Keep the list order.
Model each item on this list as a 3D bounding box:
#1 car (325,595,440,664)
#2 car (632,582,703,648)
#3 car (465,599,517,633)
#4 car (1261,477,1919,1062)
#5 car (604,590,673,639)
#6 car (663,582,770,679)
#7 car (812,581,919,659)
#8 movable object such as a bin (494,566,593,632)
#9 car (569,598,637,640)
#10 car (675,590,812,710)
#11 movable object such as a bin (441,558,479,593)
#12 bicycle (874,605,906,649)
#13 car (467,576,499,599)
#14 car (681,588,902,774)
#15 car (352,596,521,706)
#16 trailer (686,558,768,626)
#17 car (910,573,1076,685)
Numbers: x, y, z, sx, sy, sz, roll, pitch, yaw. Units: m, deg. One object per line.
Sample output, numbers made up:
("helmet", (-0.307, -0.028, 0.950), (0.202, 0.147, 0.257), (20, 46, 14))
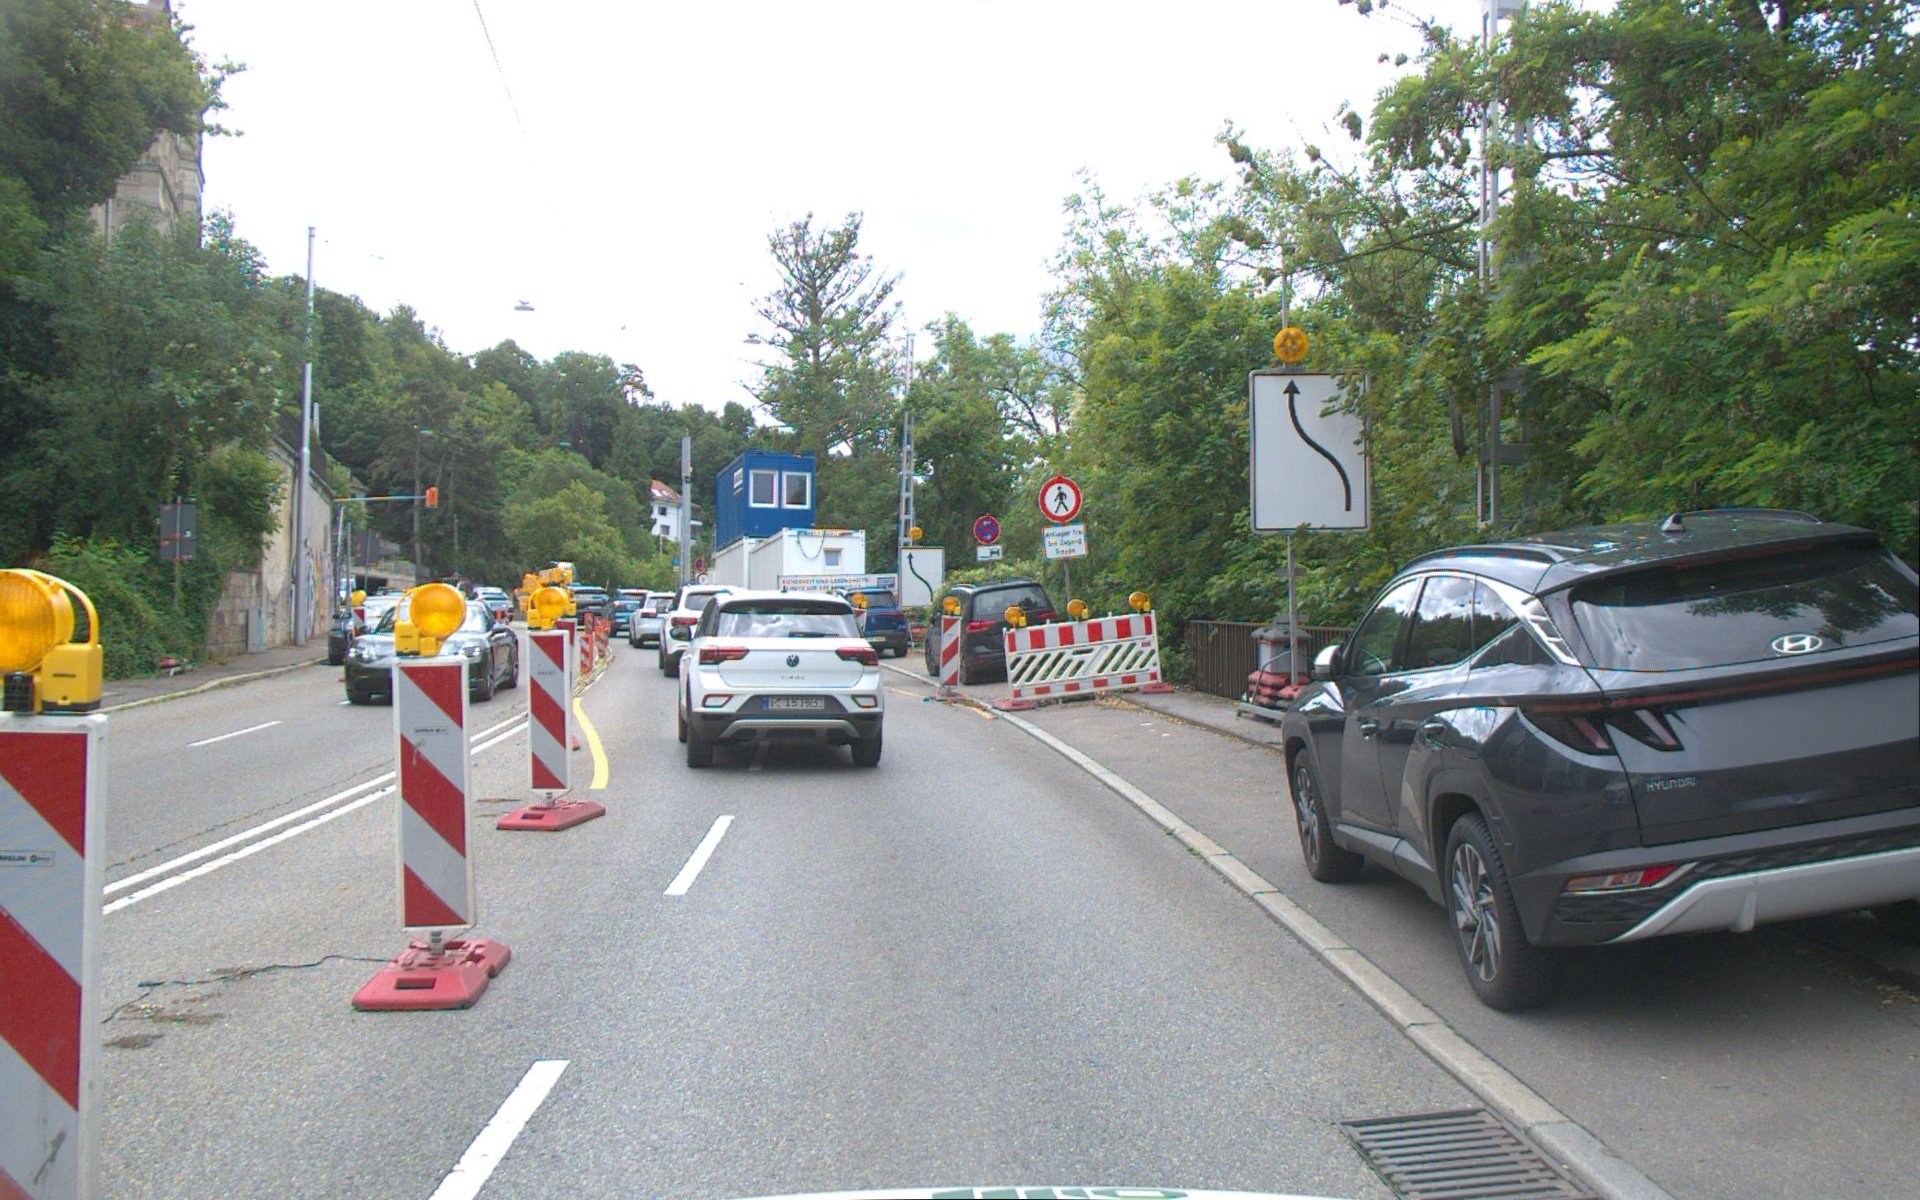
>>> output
("car", (-12.822, 0.610, 36.960), (1.767, 1.397, 4.376), (-1, 1, -11))
("car", (-7.936, 0.388, 44.654), (1.777, 1.692, 3.989), (0, 0, -11))
("car", (-22.069, 0.714, 77.749), (1.771, 1.537, 3.969), (0, 0, -25))
("car", (2.710, 0.490, 7.280), (1.816, 1.702, 4.278), (-5, 0, -1))
("car", (-10.635, 0.458, 54.504), (1.766, 1.537, 3.980), (0, 0, -18))
("car", (-4.607, 0.529, 30.947), (1.777, 1.692, 3.989), (0, 0, -11))
("car", (-2.337, 0.439, 39.870), (1.808, 1.671, 4.488), (-3, 1, -13))
("movable object such as a bin", (-21.144, -0.061, 83.648), (2.782, 3.124, 7.744), (2, -1, -30))
("car", (-13.787, 0.707, 63.679), (1.771, 1.537, 3.969), (0, 0, -25))
("car", (-3.169, 0.645, 23.613), (1.777, 1.558, 3.991), (0, 0, -10))
("movable object such as a bin", (-40.214, -1.945, 133.089), (2.171, 2.709, 4.934), (2, 0, -9))
("bicycle", (-1.907, 0.728, 44.946), (0.490, 1.127, 1.793), (-2, 1, -14))
("car", (-33.800, -0.889, 117.206), (1.769, 1.537, 3.972), (1, -1, -22))
("car", (-1.748, 0.678, 16.007), (1.777, 1.558, 3.989), (0, 0, -11))
("car", (-7.650, 0.682, 24.557), (1.788, 1.416, 4.427), (-2, 0, -10))
("trailer", (-9.437, -0.325, 66.663), (2.078, 2.594, 5.084), (-1, 0, -22))
("car", (0.491, 0.469, 29.629), (1.830, 1.703, 4.631), (-4, 1, -12))
